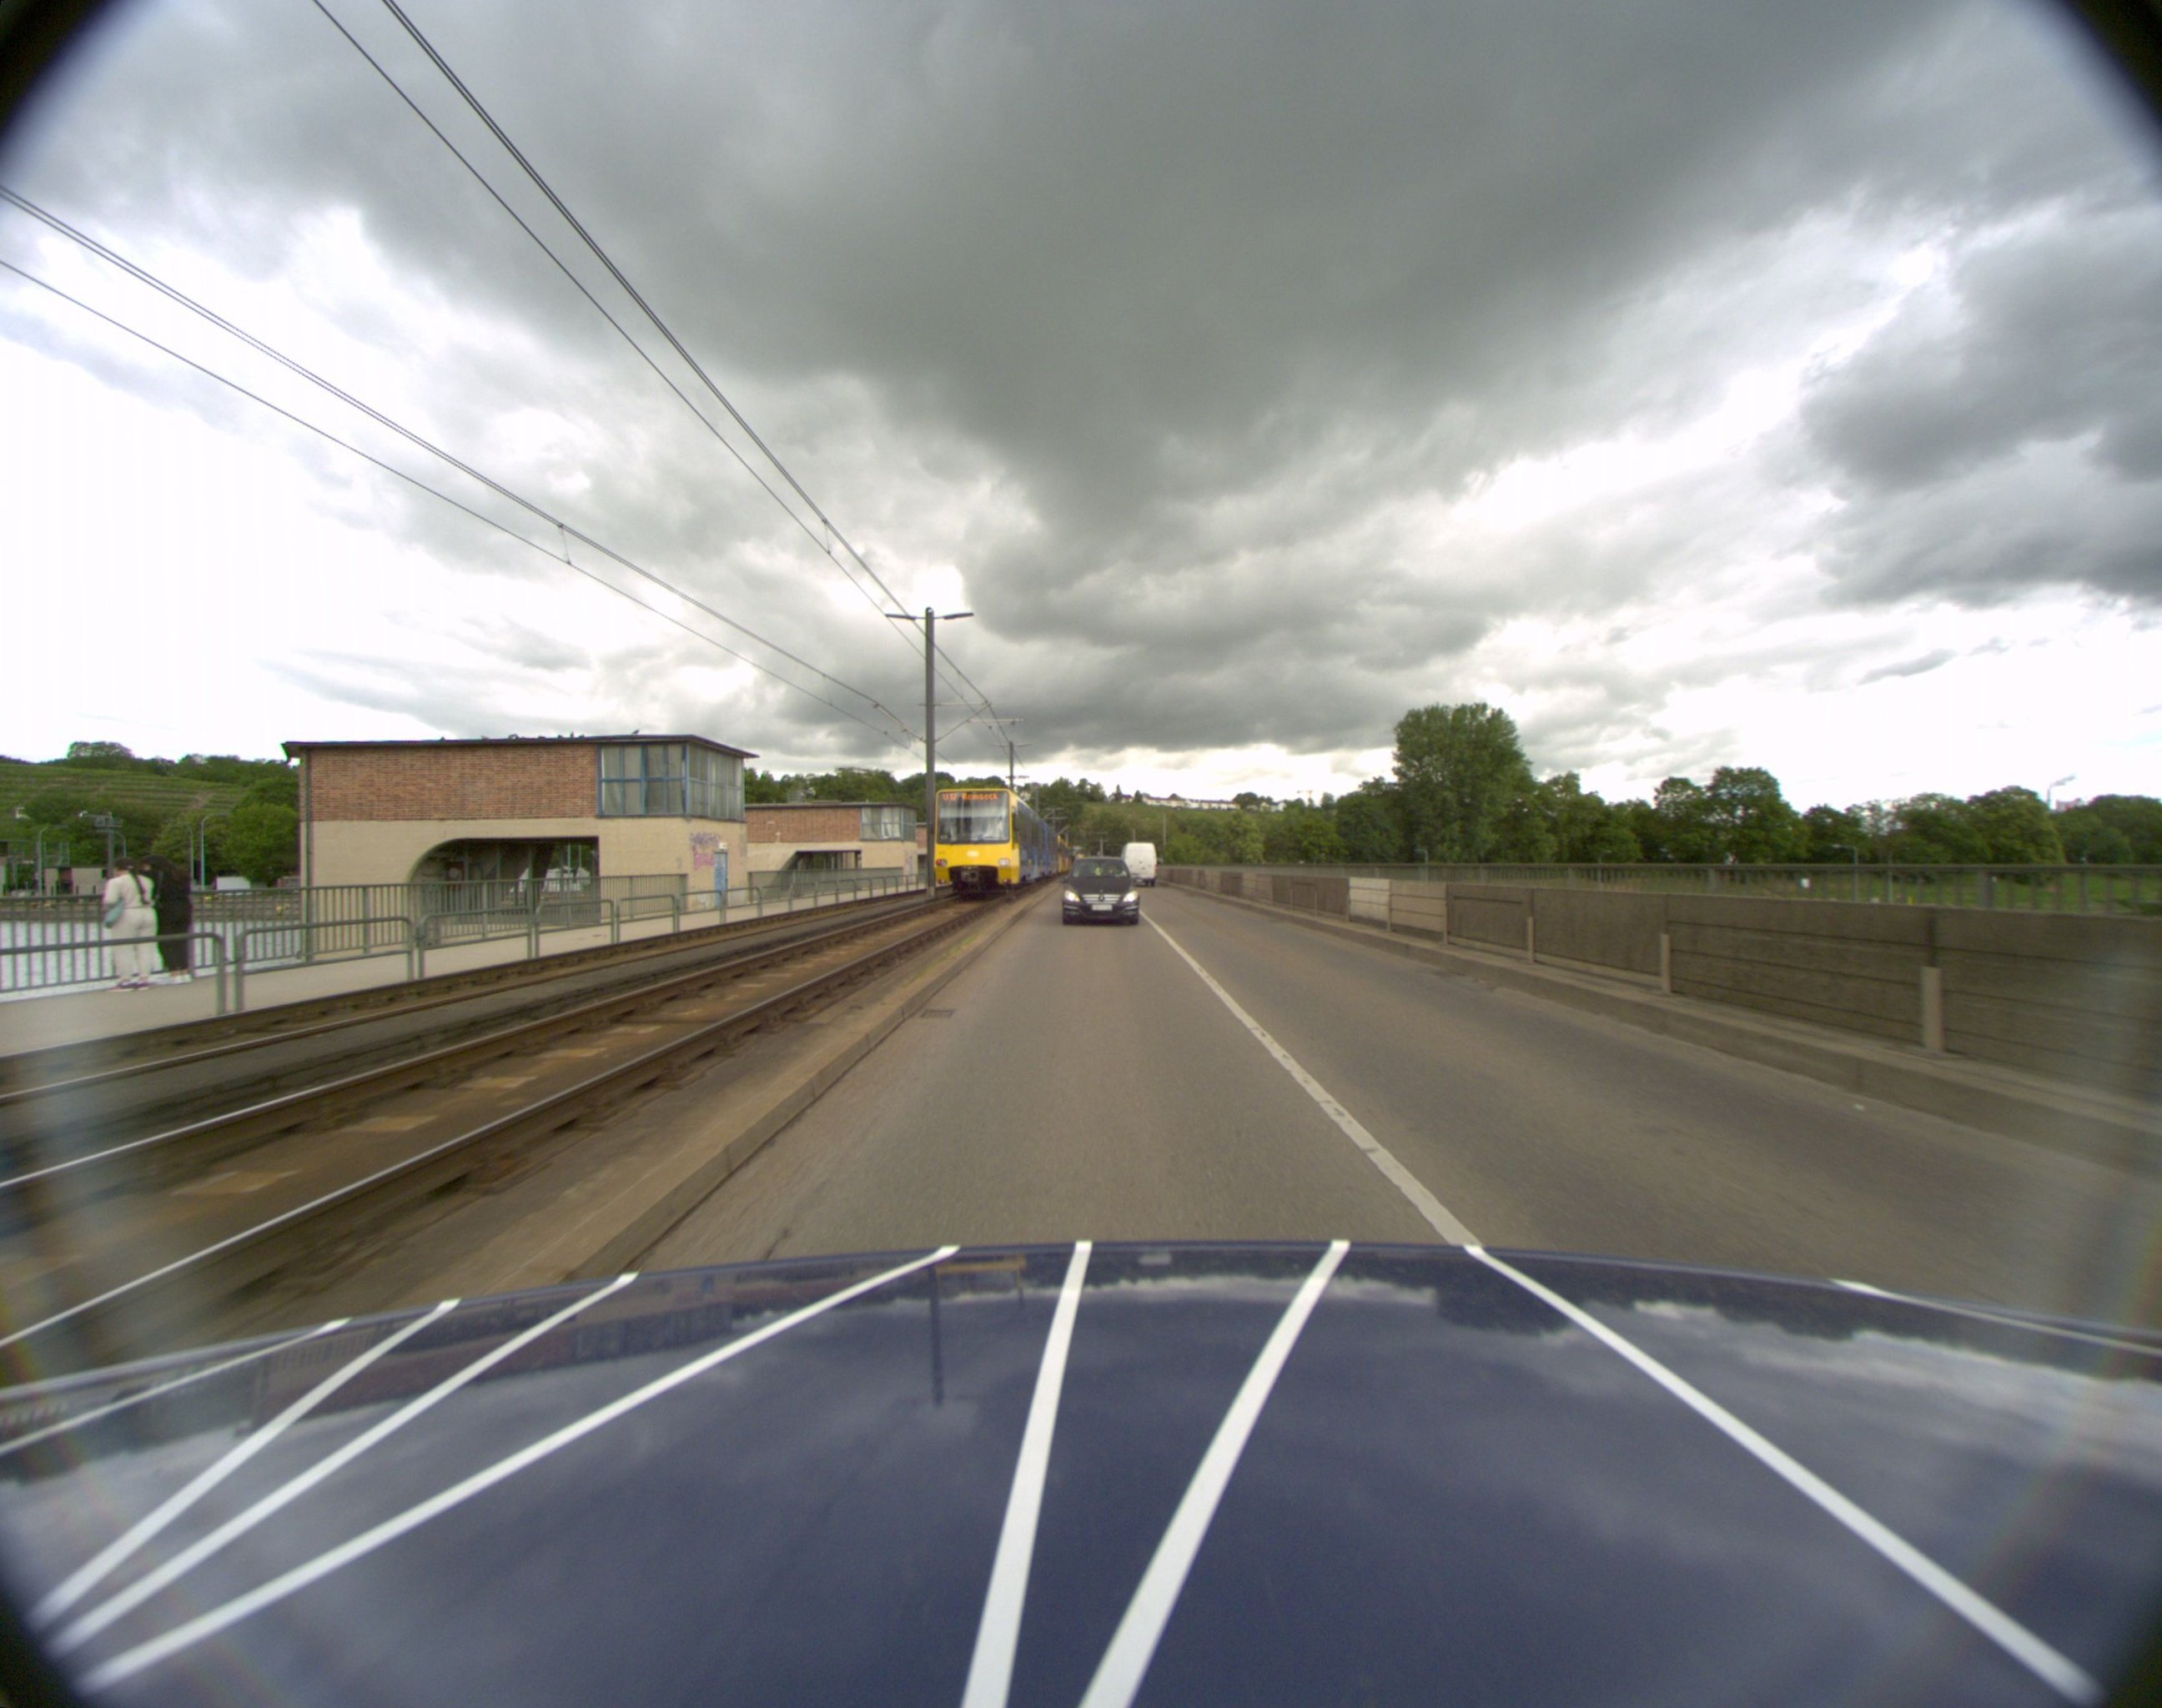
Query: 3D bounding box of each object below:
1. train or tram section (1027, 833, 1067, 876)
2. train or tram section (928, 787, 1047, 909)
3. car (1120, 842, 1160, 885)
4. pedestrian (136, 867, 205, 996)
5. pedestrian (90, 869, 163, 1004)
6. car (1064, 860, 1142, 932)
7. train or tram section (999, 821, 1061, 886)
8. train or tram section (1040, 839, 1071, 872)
[{"bbox_3d":[-2.998,0.117,72.639,2.837,3.559,18.667,1,0,0],"label":"train or tram section"},{"bbox_3d":[-3.316,-0.197,33.440,2.800,3.742,19.890,-1,0,0],"label":"train or tram section"},{"bbox_3d":[3.652,0.614,48.163,2.038,2.546,7.008,1,-1,1],"label":"car"},{"bbox_3d":[-11.900,0.992,9.939,0.330,1.638,0.460,1,0,19],"label":"pedestrian"},{"bbox_3d":[-11.829,0.994,9.418,0.346,1.617,0.444,1,0,19],"label":"pedestrian"},{"bbox_3d":[0.511,0.940,18.975,1.711,1.573,4.442,0,0,0],"label":"car"},{"bbox_3d":[-3.156,-0.047,53.307,2.791,3.634,19.892,2,0,0],"label":"train or tram section"},{"bbox_3d":[-2.843,0.256,91.340,2.889,3.488,18.667,1,0,0],"label":"train or tram section"}]
